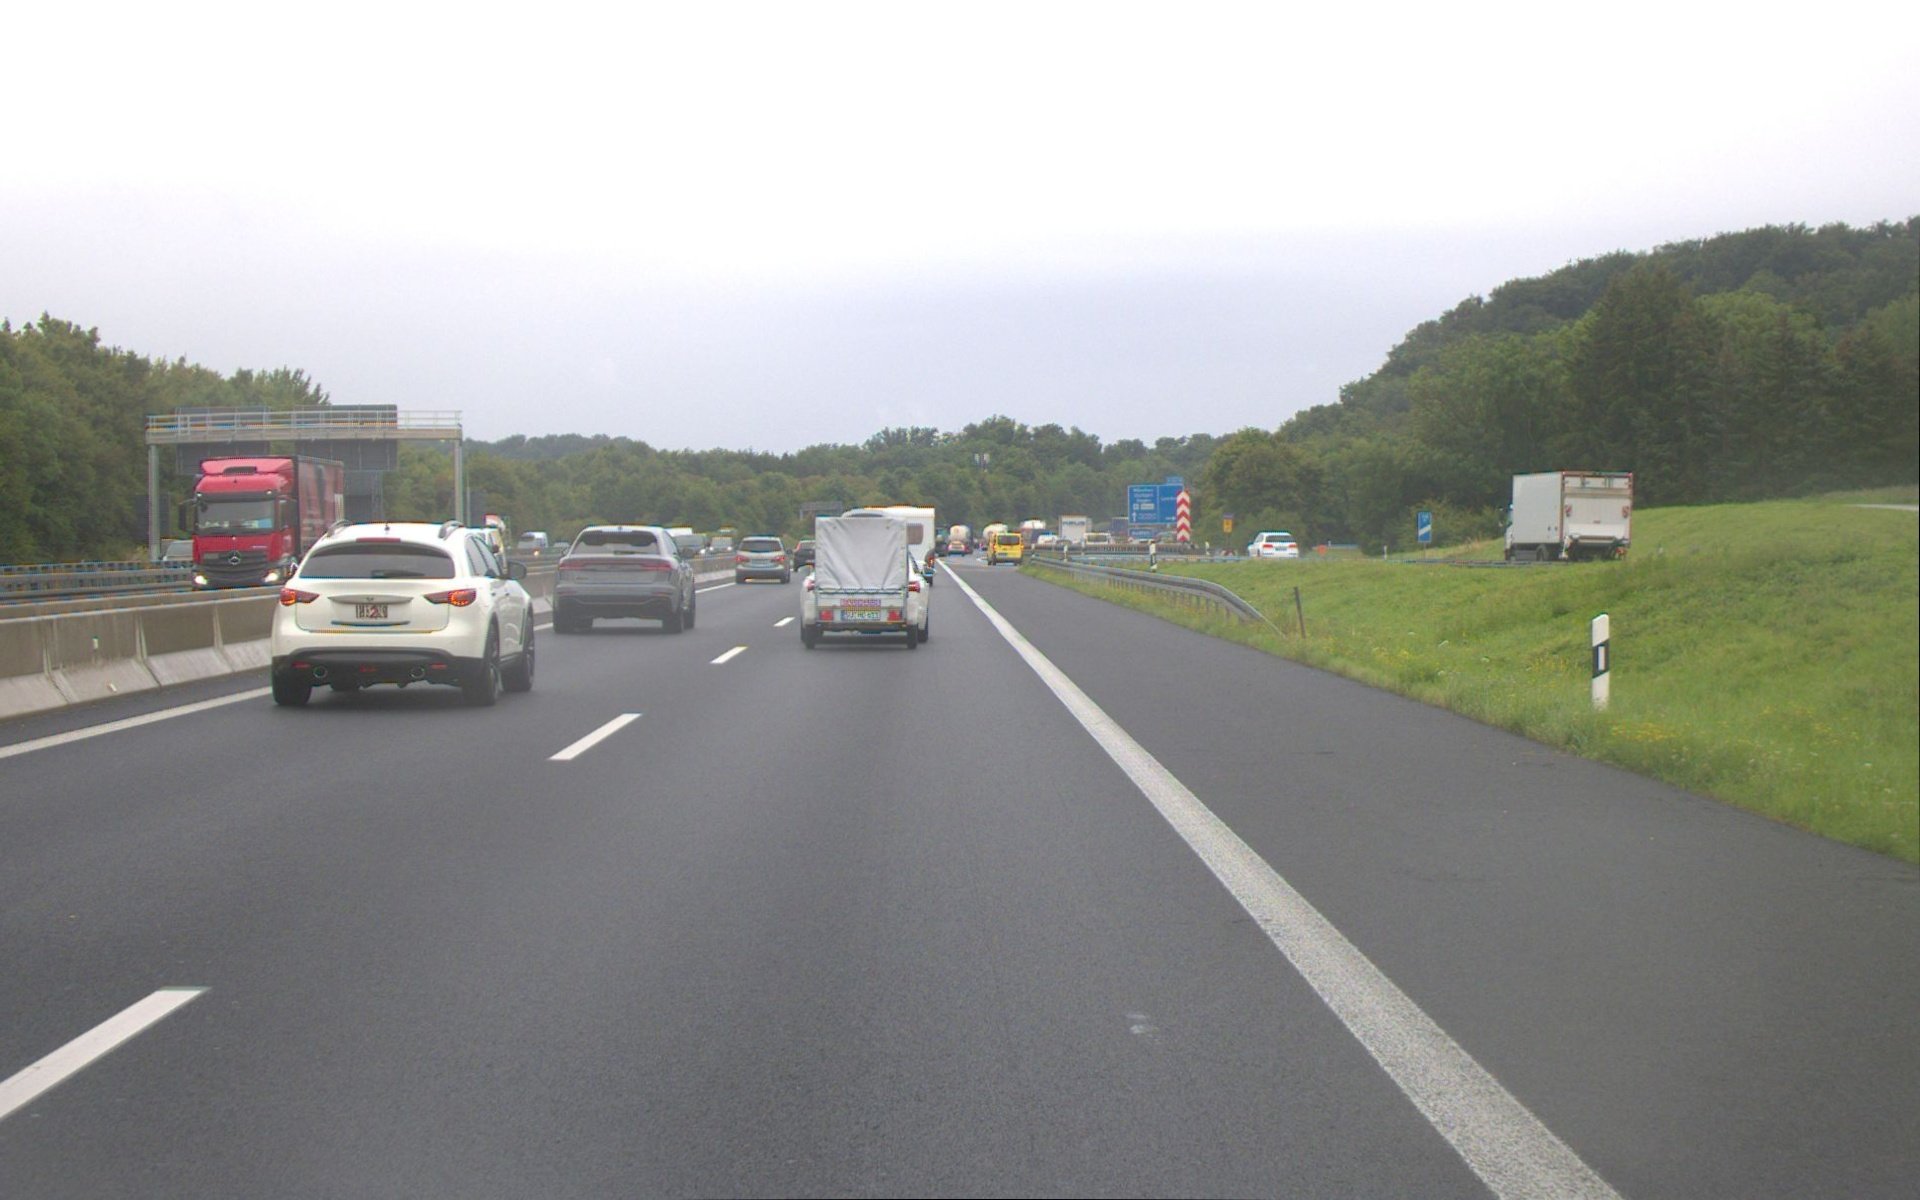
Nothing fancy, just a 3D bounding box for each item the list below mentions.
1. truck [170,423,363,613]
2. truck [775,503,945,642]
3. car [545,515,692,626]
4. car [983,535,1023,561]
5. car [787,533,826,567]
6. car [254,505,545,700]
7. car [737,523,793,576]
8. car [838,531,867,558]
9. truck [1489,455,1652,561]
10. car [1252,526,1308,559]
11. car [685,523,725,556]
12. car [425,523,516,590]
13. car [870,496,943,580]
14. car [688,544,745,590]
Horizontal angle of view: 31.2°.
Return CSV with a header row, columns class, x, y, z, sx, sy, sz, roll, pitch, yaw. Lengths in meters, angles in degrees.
class,x,y,z,sx,sy,sz,roll,pitch,yaw
truck,-18.247,-2.151,91.143,3.399,4.717,10.486,1,1,-2
truck,-1.419,-0.438,49.058,2.242,1.833,6.585,0,1,-2
car,-5.475,-0.496,55.658,1.975,1.697,4.803,1,1,-1
car,2.648,-3.225,211.212,1.993,1.546,4.001,1,1,-6
car,-7.221,-2.367,161.907,1.645,1.568,4.000,1,1,0
car,-5.114,-0.026,31.958,2.048,1.665,4.541,1,1,-1
car,-6.693,-1.757,118.183,1.738,1.787,4.000,1,1,-1
car,-6.369,-3.312,203.913,1.645,1.568,4.000,1,1,0
truck,22.205,-3.318,125.585,3.824,3.646,8.273,1,1,-4
car,15.449,-2.776,166.253,1.993,1.546,4.001,1,1,-5
car,-14.343,-3.428,193.640,1.993,1.830,4.680,1,1,-2
car,-14.239,-1.284,100.305,1.993,1.856,5.222,-2,1,-1
car,-1.807,-2.078,113.933,2.331,2.716,6.541,0,1,-2
car,-8.995,-1.245,127.296,1.819,1.656,4.017,0,1,0
